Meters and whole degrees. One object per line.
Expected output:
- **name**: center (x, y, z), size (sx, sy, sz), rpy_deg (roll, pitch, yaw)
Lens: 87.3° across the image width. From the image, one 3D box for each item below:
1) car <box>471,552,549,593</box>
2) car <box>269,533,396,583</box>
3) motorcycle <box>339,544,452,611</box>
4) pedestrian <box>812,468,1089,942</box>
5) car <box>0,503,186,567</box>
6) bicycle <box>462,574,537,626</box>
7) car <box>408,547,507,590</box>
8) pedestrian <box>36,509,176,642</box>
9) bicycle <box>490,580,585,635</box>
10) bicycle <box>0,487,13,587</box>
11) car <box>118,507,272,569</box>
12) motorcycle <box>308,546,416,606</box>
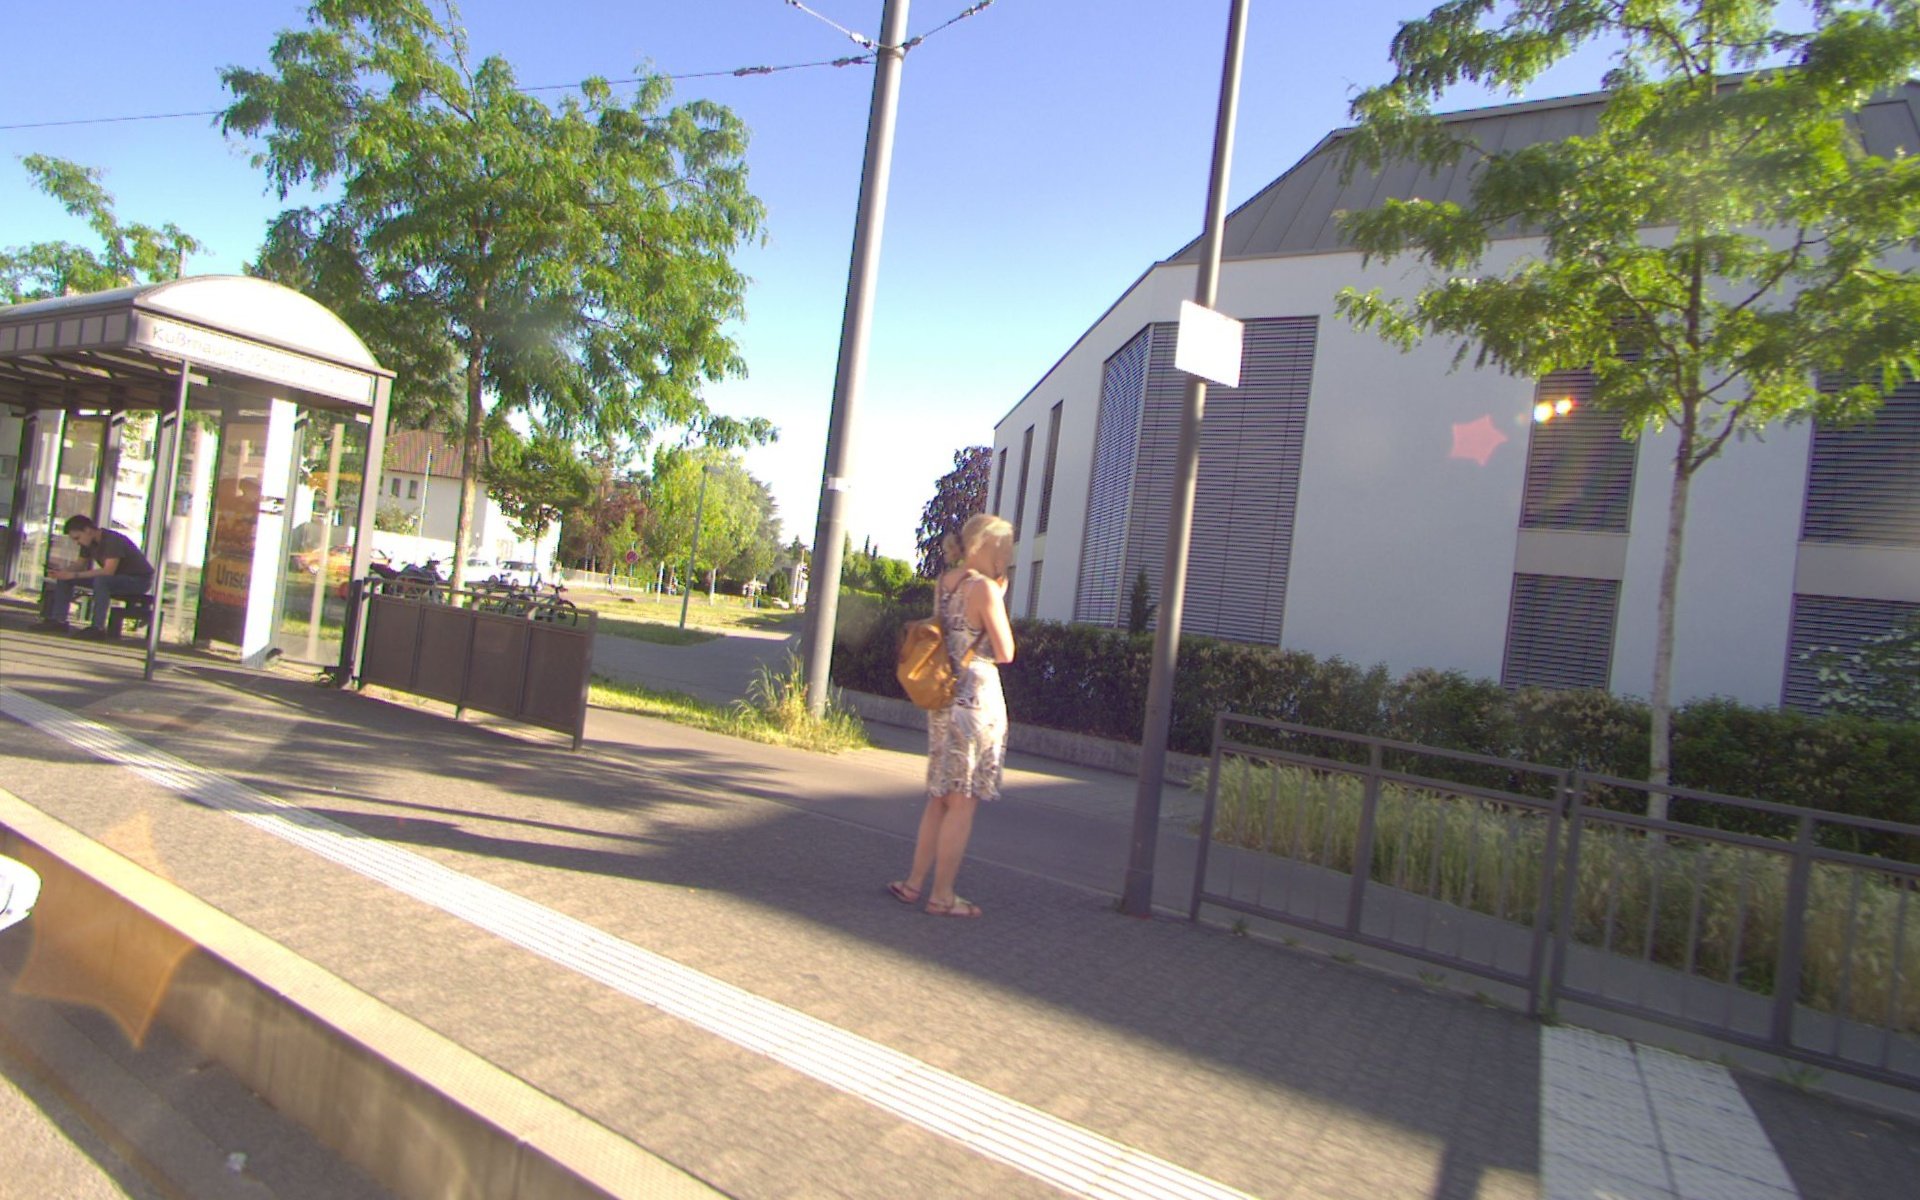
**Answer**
- **car**: center (-24.054, -1.424, 53.938), size (1.963, 1.591, 4.005), rpy_deg (9, -2, 4)
- **car**: center (-27.045, -1.787, 43.501), size (1.947, 1.525, 4.175), rpy_deg (7, -2, 26)
- **motorcycle**: center (-13.055, -0.491, 23.340), size (0.846, 1.289, 2.083), rpy_deg (7, -1, 25)
- **pedestrian**: center (-0.022, 0.393, 4.146), size (0.679, 1.724, 0.673), rpy_deg (7, -1, 30)
- **car**: center (-29.515, -2.174, 34.319), size (1.956, 1.483, 4.596), rpy_deg (4, -3, 43)
- **bicycle**: center (-9.991, 0.022, 21.861), size (0.408, 0.990, 1.474), rpy_deg (7, -1, 25)
- **car**: center (-24.532, -1.514, 49.265), size (1.944, 1.525, 4.180), rpy_deg (7, -2, 14)
- **pedestrian**: center (-8.162, -0.226, 9.626), size (0.647, 1.130, 0.740), rpy_deg (7, -2, 31)
- **bicycle**: center (-8.797, 0.174, 21.029), size (0.482, 0.990, 1.903), rpy_deg (7, -1, 25)
- **bicycle**: center (-9.789, -0.532, 9.436), size (1.932, 1.244, 0.621), rpy_deg (7, -1, 28)
- **car**: center (-29.289, -2.328, 38.638), size (1.948, 1.661, 4.172), rpy_deg (7, -2, 30)
- **motorcycle**: center (-14.316, -0.554, 24.145), size (0.846, 1.171, 2.004), rpy_deg (7, -1, 25)
